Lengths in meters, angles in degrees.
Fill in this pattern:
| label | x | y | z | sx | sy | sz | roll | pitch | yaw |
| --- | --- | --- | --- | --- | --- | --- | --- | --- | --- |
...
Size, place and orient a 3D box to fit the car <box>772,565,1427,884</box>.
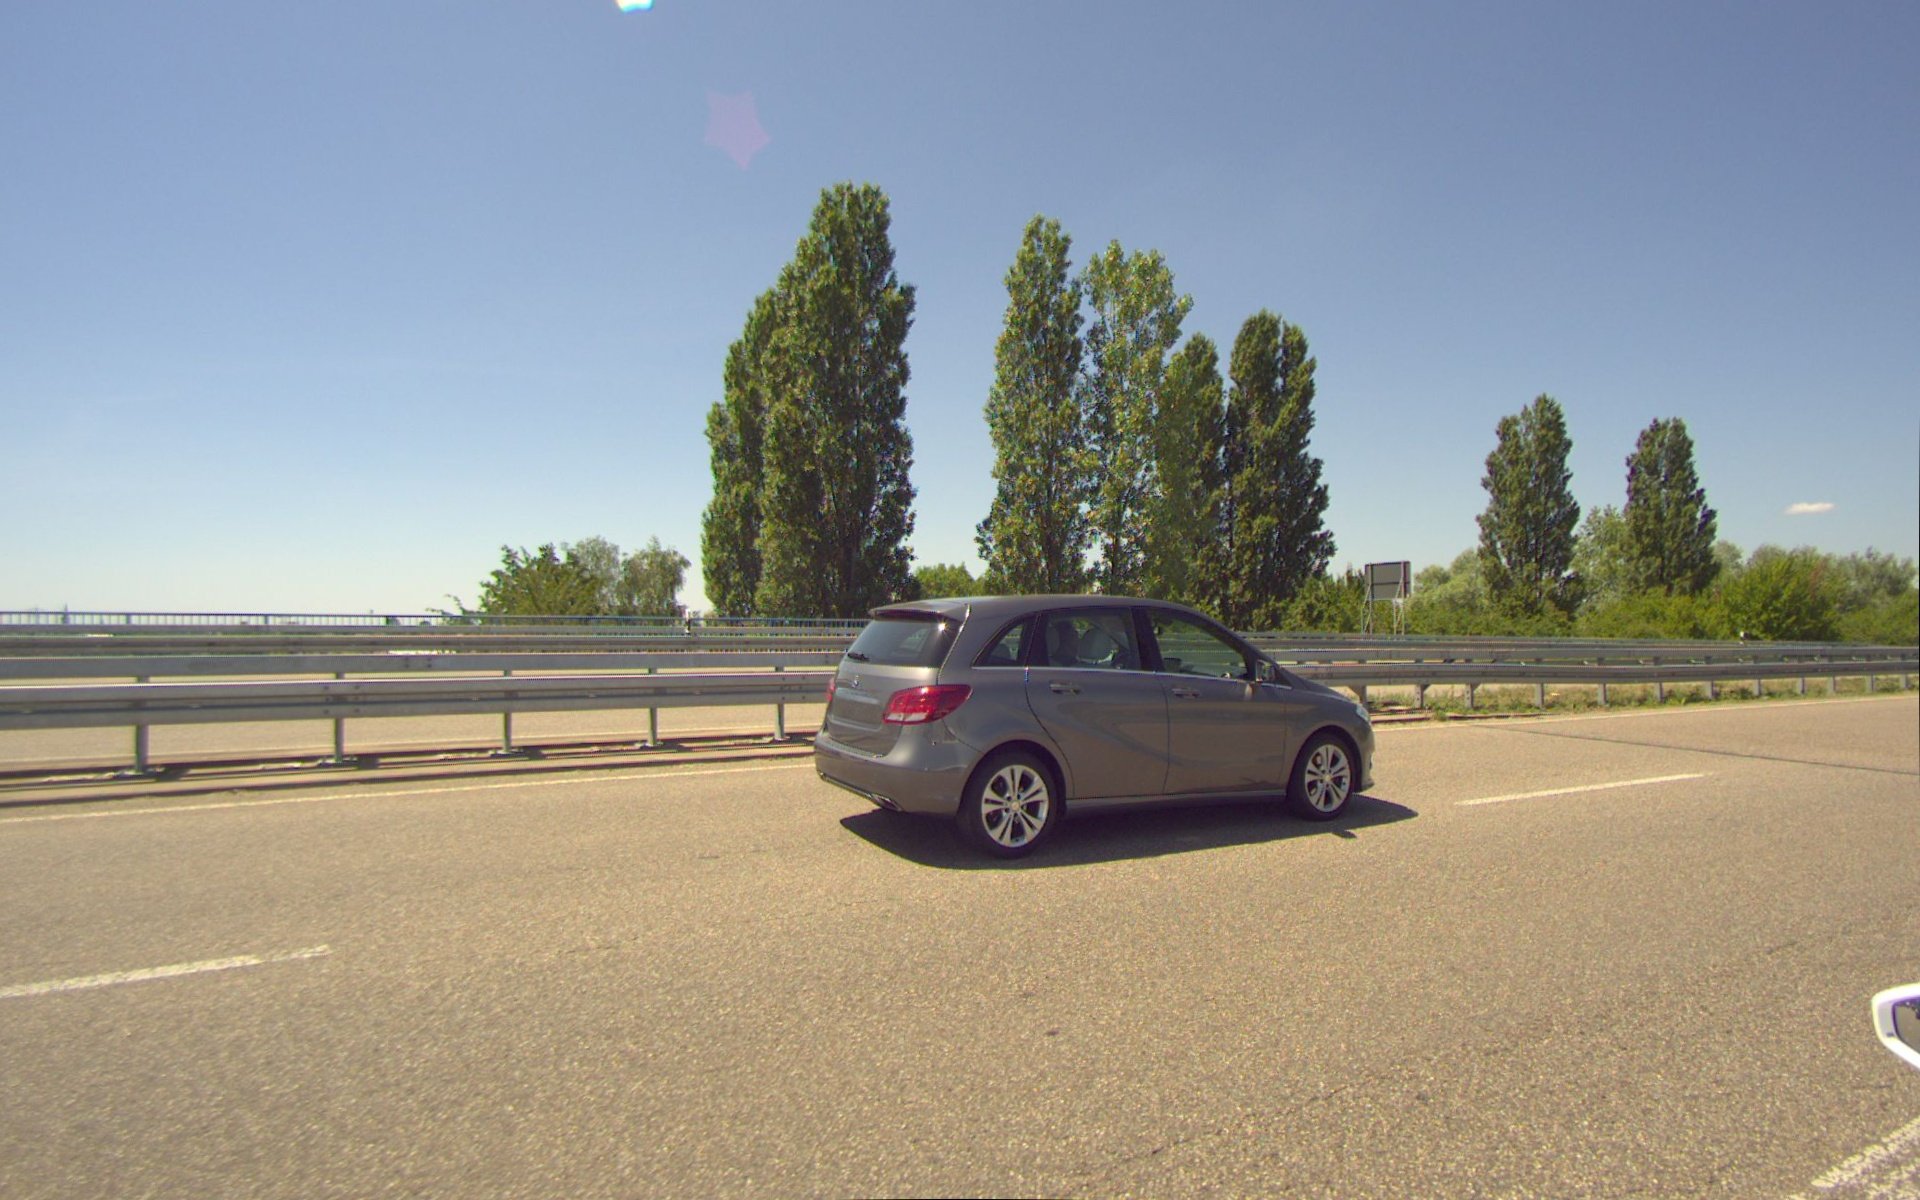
| label | x | y | z | sx | sy | sz | roll | pitch | yaw |
| --- | --- | --- | --- | --- | --- | --- | --- | --- | --- |
| car | 1.106 | 0.715 | 7.217 | 4.499 | 1.690 | 1.785 | 1 | -1 | -29 |
